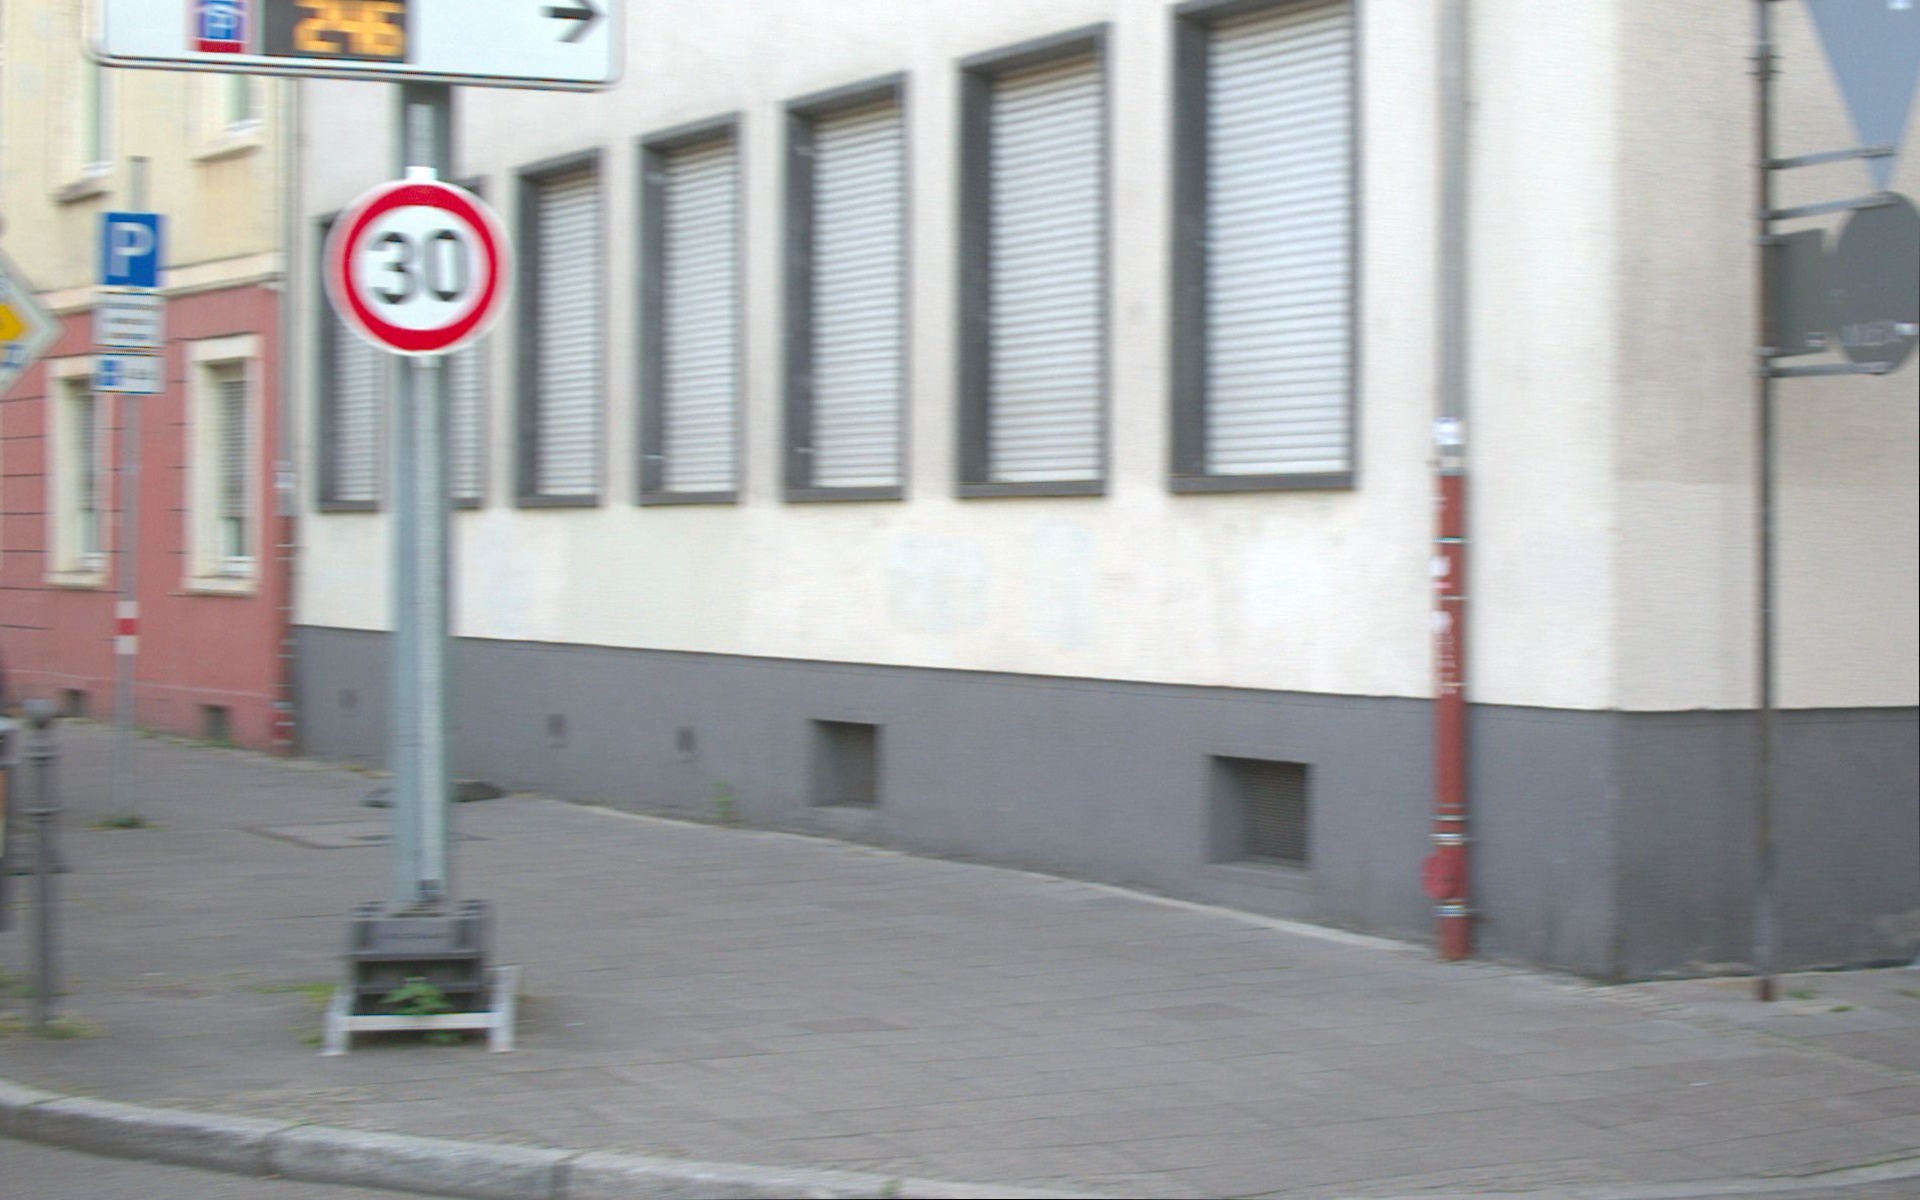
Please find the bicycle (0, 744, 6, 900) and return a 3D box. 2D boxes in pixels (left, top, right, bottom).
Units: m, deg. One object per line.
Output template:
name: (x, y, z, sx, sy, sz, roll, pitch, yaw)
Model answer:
bicycle: (-3.144, 0.861, 9.365, 0.652, 1.067, 2.258, 2, 0, -25)
